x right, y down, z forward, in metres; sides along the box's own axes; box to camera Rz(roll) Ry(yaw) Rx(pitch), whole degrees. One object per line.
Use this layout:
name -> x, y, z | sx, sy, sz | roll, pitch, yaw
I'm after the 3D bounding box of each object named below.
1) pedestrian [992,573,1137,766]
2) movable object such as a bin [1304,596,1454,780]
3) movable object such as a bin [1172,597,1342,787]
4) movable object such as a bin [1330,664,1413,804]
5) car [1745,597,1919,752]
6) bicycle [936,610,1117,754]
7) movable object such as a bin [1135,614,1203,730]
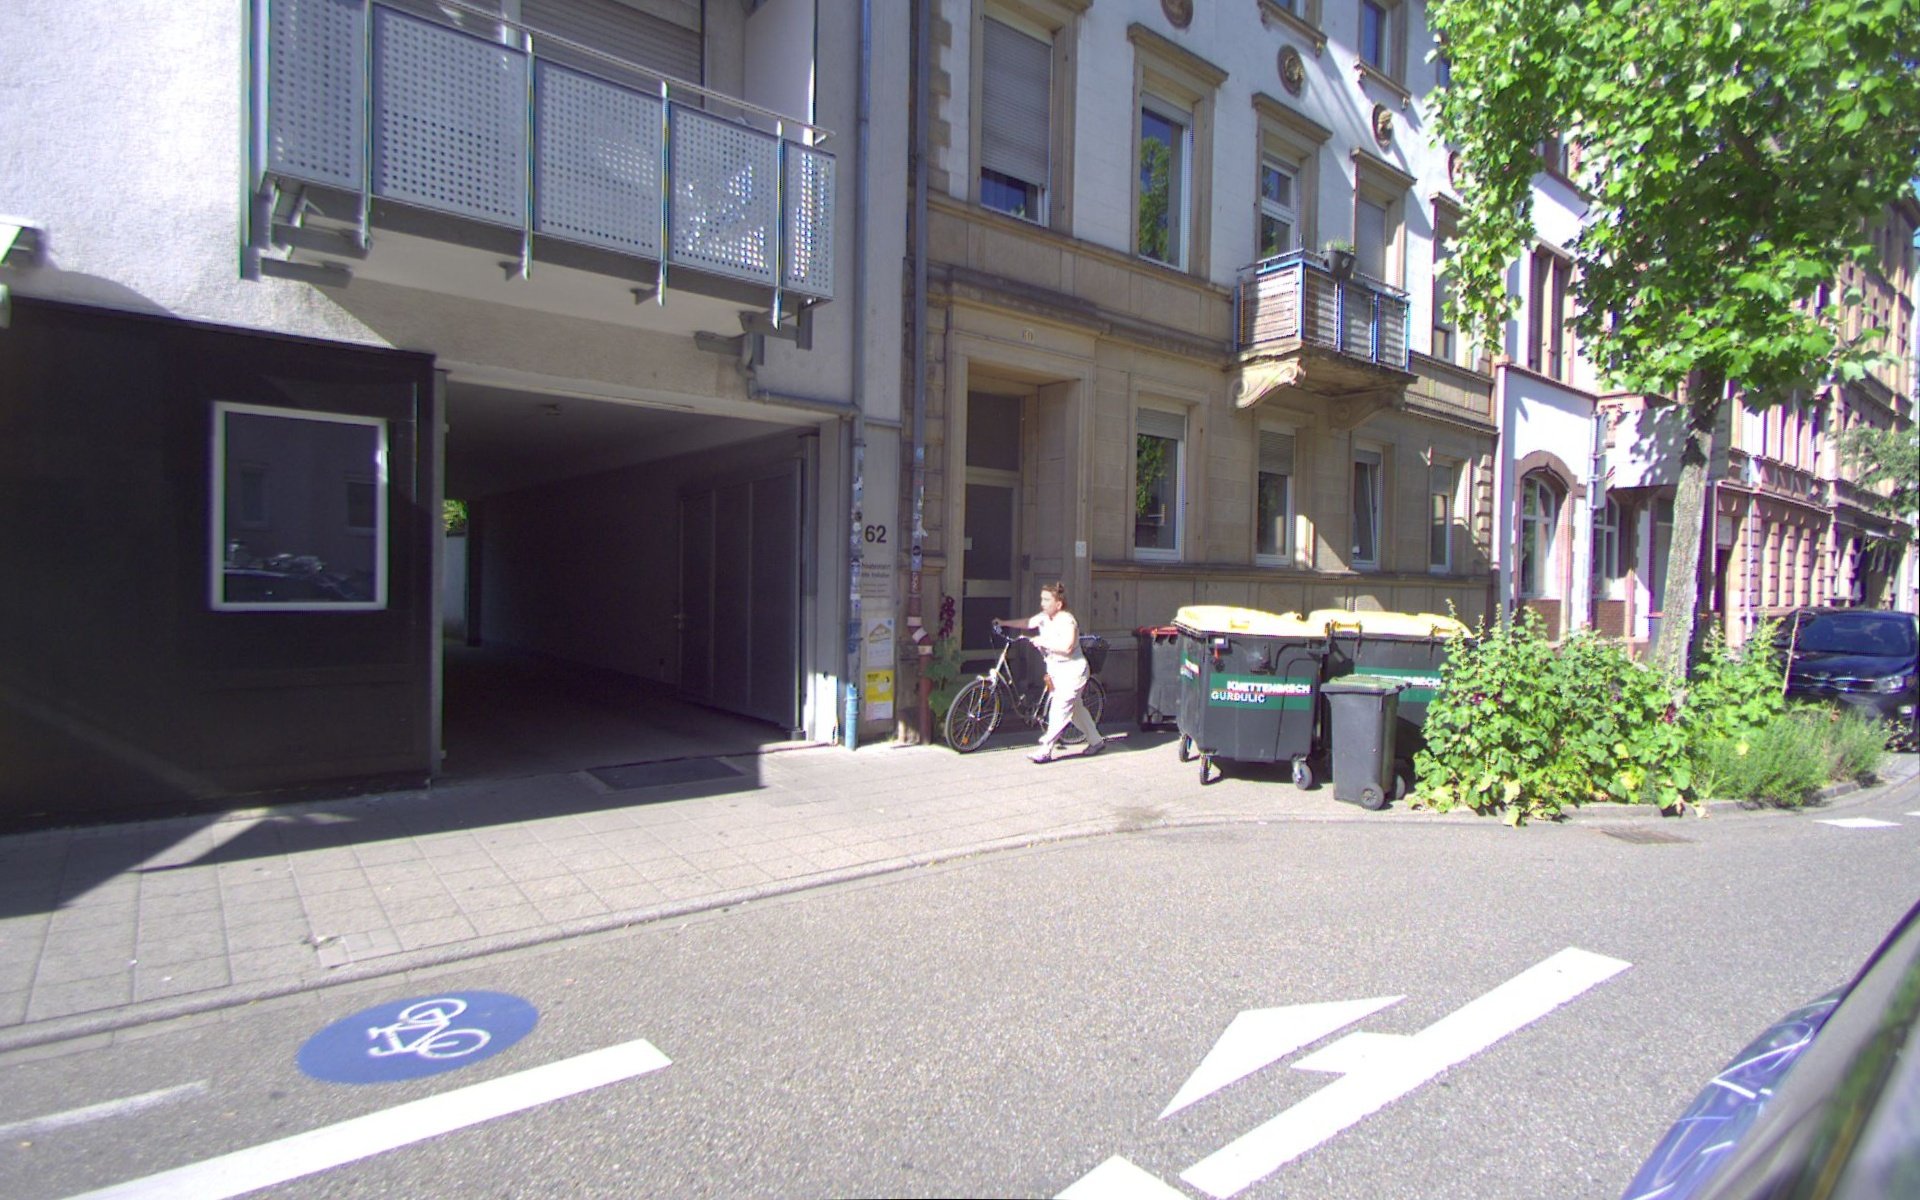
pedestrian -> 0.909, 0.558, 8.840 | 0.929, 1.557, 0.825 | 0, 1, -39
movable object such as a bin -> 3.501, 0.693, 8.574 | 0.944, 1.364, 1.066 | 2, 3, 13
movable object such as a bin -> 2.375, 0.696, 8.286 | 1.031, 1.341, 1.216 | 2, 3, 3
movable object such as a bin -> 3.081, 0.981, 7.575 | 0.400, 0.933, 0.477 | 4, 4, 43
car -> 10.476, 0.744, 11.674 | 3.291, 1.510, 1.551 | 0, 1, -40
bicycle -> 0.620, 0.668, 8.894 | 1.760, 1.147, 0.402 | 0, 1, -39
movable object such as a bin -> 2.125, 0.718, 10.340 | 0.557, 1.094, 0.617 | 2, 3, 3
